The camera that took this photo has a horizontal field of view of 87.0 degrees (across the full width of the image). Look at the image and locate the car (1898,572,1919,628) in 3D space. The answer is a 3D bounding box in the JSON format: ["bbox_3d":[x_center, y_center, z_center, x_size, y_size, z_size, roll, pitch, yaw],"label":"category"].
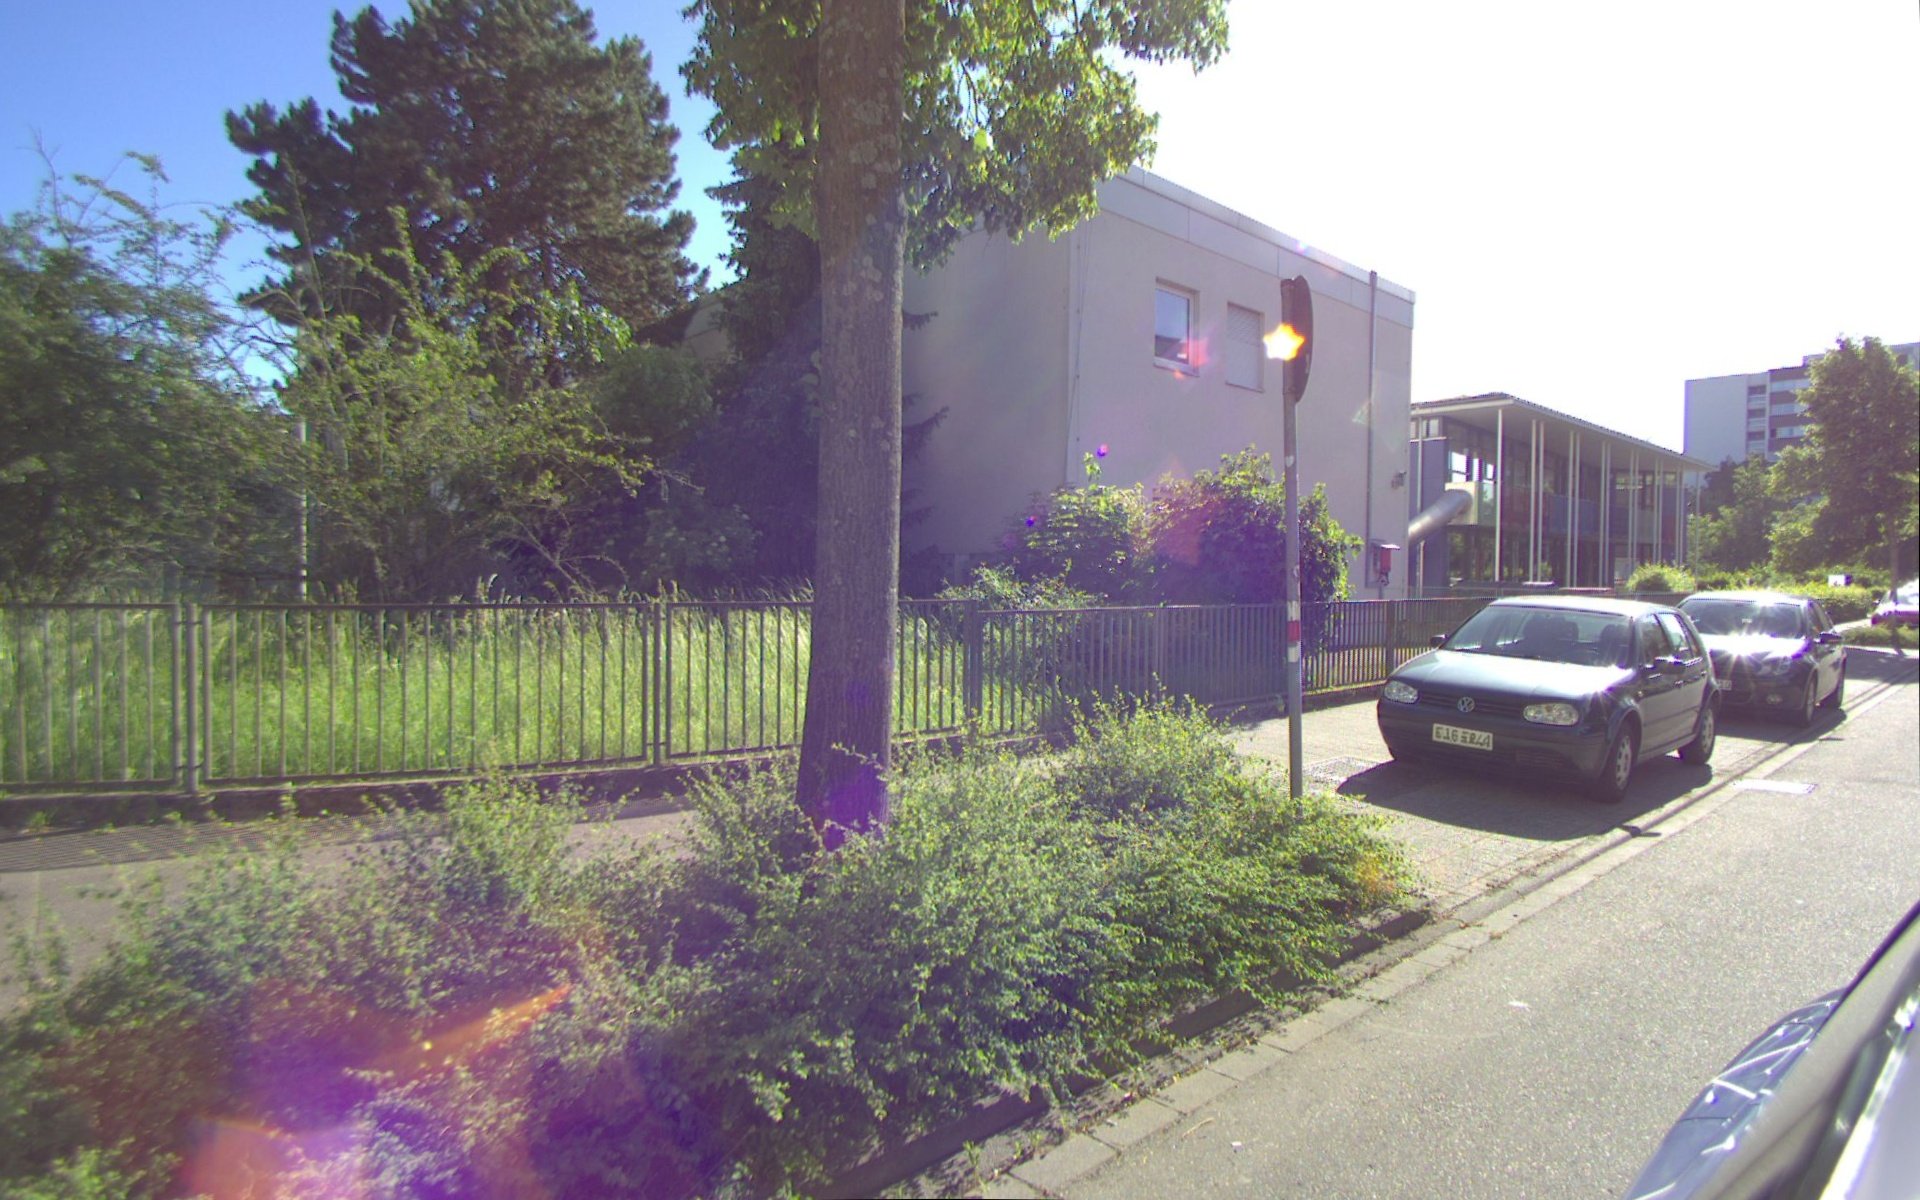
[{"bbox_3d":[31.541,0.004,32.278,4.335,1.703,1.904,-1,4,-41],"label":"car"}]

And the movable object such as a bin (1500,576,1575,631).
[{"bbox_3d":[16.124,0.062,28.263,1.603,1.466,1.369,-1,2,-41],"label":"movable object such as a bin"}]

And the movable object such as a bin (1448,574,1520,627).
[{"bbox_3d":[15.164,-0.014,29.302,1.603,1.466,1.332,-1,2,-41],"label":"movable object such as a bin"}]

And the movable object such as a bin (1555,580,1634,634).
[{"bbox_3d":[17.020,0.152,27.147,1.603,1.374,1.369,-1,2,-41],"label":"movable object such as a bin"}]

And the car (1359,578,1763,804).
[{"bbox_3d":[5.338,0.550,8.730,4.348,1.439,1.749,-2,2,-41],"label":"car"}]

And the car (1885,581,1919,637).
[{"bbox_3d":[27.467,0.235,28.571,3.782,1.522,1.677,-1,2,-43],"label":"car"}]

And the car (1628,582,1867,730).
[{"bbox_3d":[10.031,0.562,12.786,3.933,1.534,1.786,-1,2,-43],"label":"car"}]
